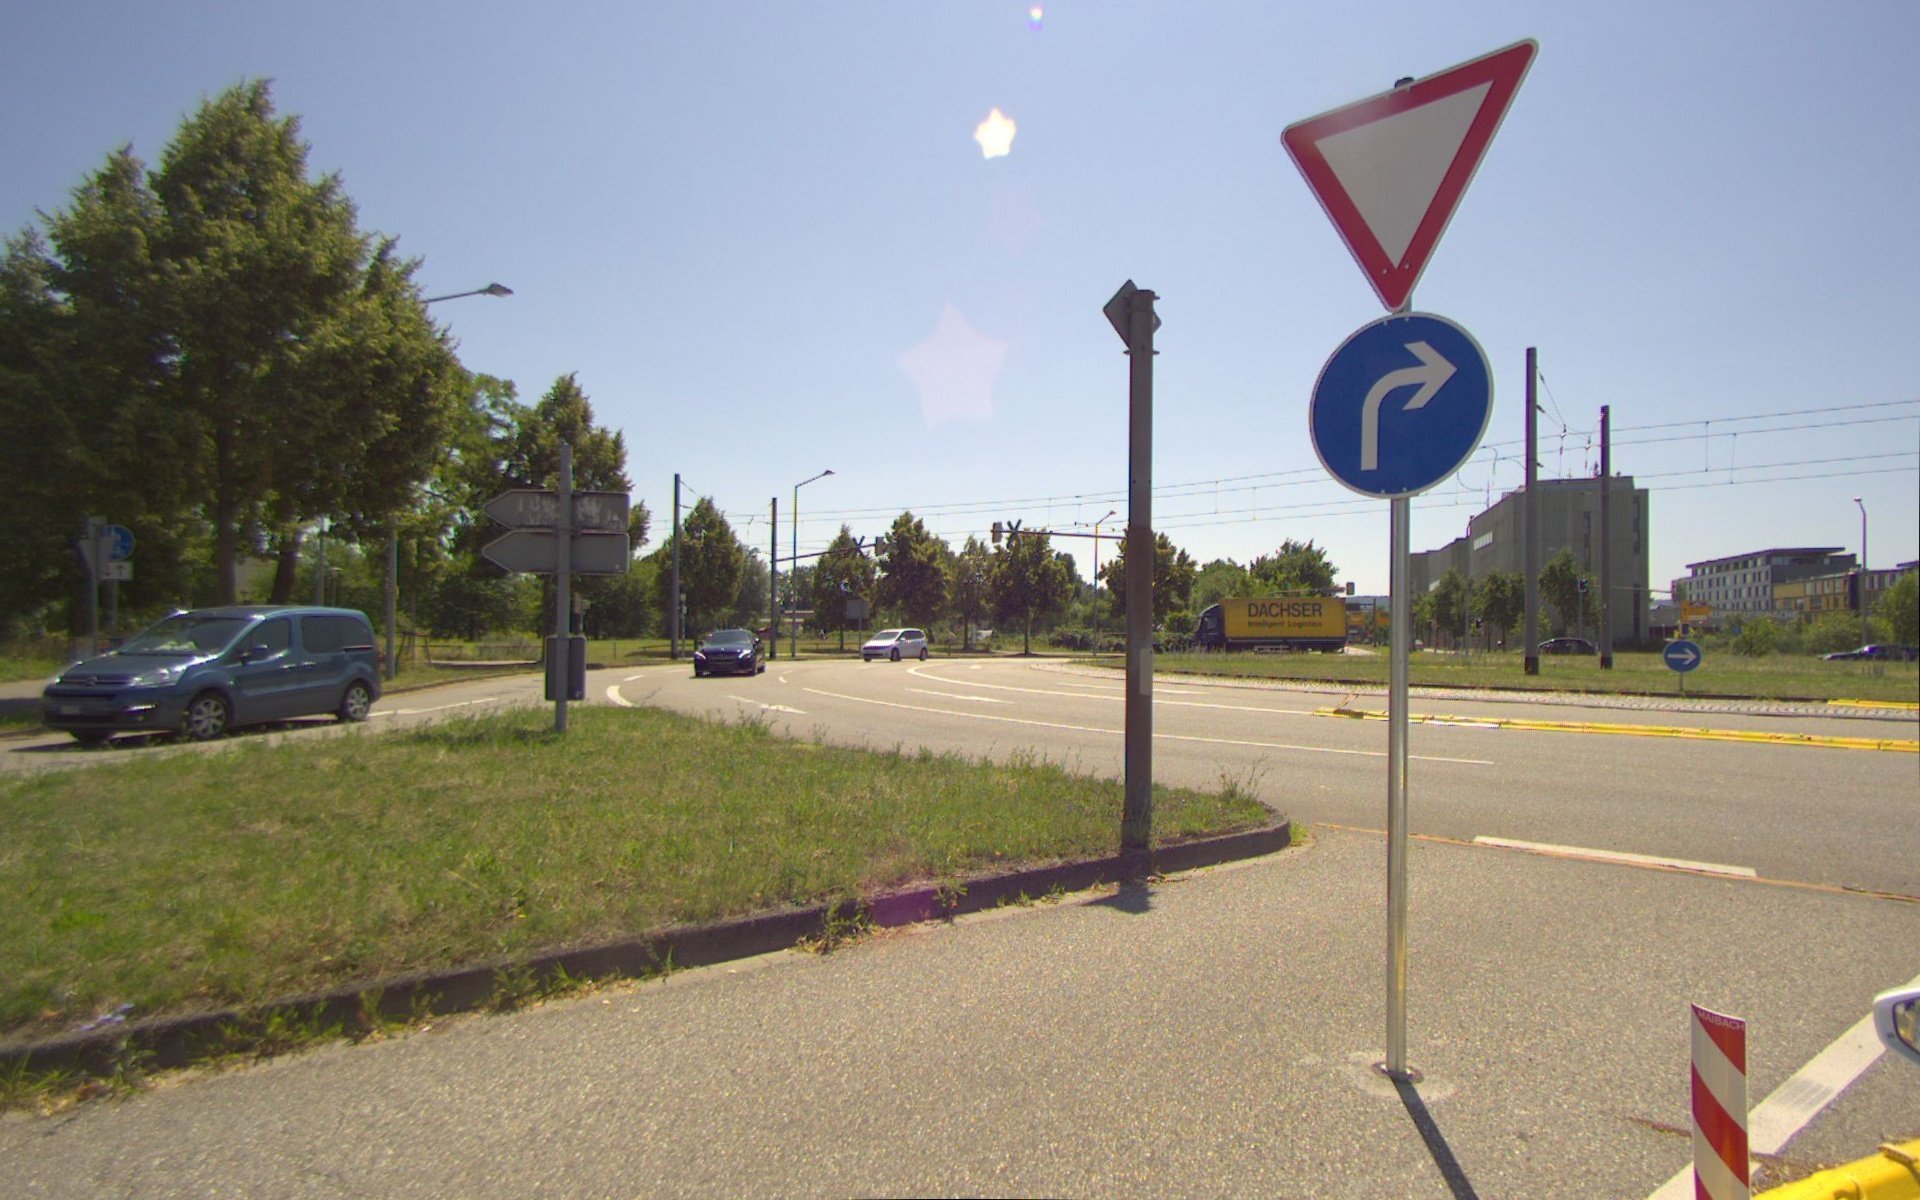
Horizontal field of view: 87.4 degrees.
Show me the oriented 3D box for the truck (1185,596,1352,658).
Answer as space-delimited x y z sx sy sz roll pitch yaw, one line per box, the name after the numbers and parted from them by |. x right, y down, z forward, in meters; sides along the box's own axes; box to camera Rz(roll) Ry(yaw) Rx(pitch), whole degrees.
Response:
18.728 1.664 61.437 9.422 3.707 2.709 0 -2 4 | truck

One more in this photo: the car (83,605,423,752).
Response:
-9.900 1.071 14.554 1.655 1.792 4.208 -1 -3 6 | car

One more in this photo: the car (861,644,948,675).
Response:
-2.758 2.973 51.013 1.796 1.473 5.009 -1 -2 33 | car

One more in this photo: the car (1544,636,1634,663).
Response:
35.991 2.840 57.552 3.966 1.480 1.731 0 -2 12 | car

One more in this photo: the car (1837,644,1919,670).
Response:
50.329 3.074 54.114 4.410 1.336 1.993 -1 -3 36 | car

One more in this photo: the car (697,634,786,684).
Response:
-6.767 1.795 31.620 1.822 1.455 4.955 0 -2 -2 | car
